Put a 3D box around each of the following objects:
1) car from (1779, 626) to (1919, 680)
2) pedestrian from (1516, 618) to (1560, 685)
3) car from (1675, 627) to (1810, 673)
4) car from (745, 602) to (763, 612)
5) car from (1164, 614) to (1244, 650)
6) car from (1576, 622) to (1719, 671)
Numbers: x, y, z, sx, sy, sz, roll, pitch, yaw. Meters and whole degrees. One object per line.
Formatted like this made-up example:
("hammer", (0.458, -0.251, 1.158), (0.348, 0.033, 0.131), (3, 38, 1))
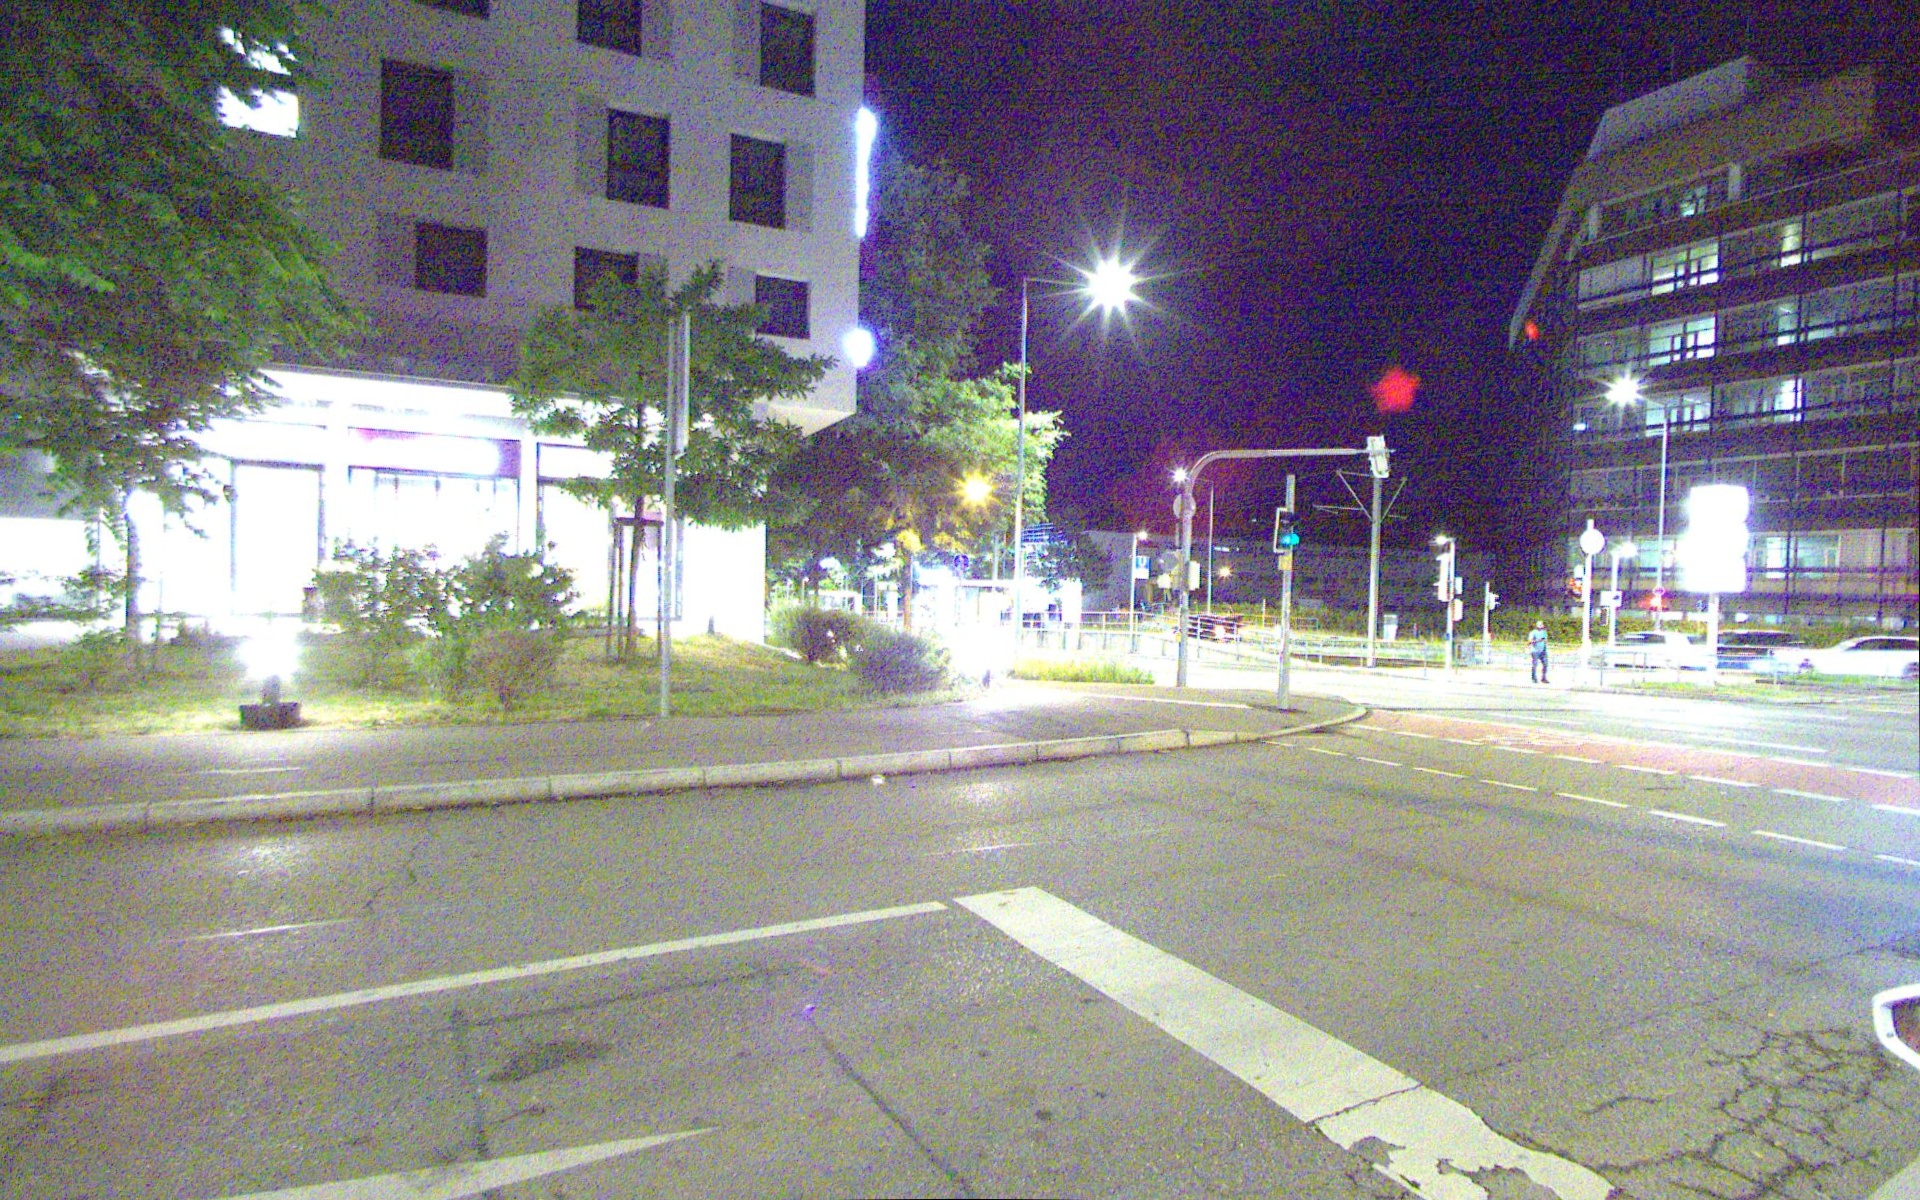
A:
("car", (29.680, 1.706, 32.541), (1.755, 1.506, 4.559), (1, 0, -26))
("pedestrian", (15.570, 1.381, 27.065), (0.669, 1.745, 0.702), (2, 0, -22))
("car", (30.398, 1.911, 39.143), (1.786, 1.653, 3.810), (1, -1, -23))
("car", (-33.458, 1.107, 162.939), (1.845, 1.506, 3.822), (3, 0, -26))
("car", (14.355, 1.853, 59.318), (1.845, 1.909, 4.926), (3, 0, -26))
("car", (24.773, 1.657, 36.327), (1.845, 1.506, 3.822), (3, 0, -26))
